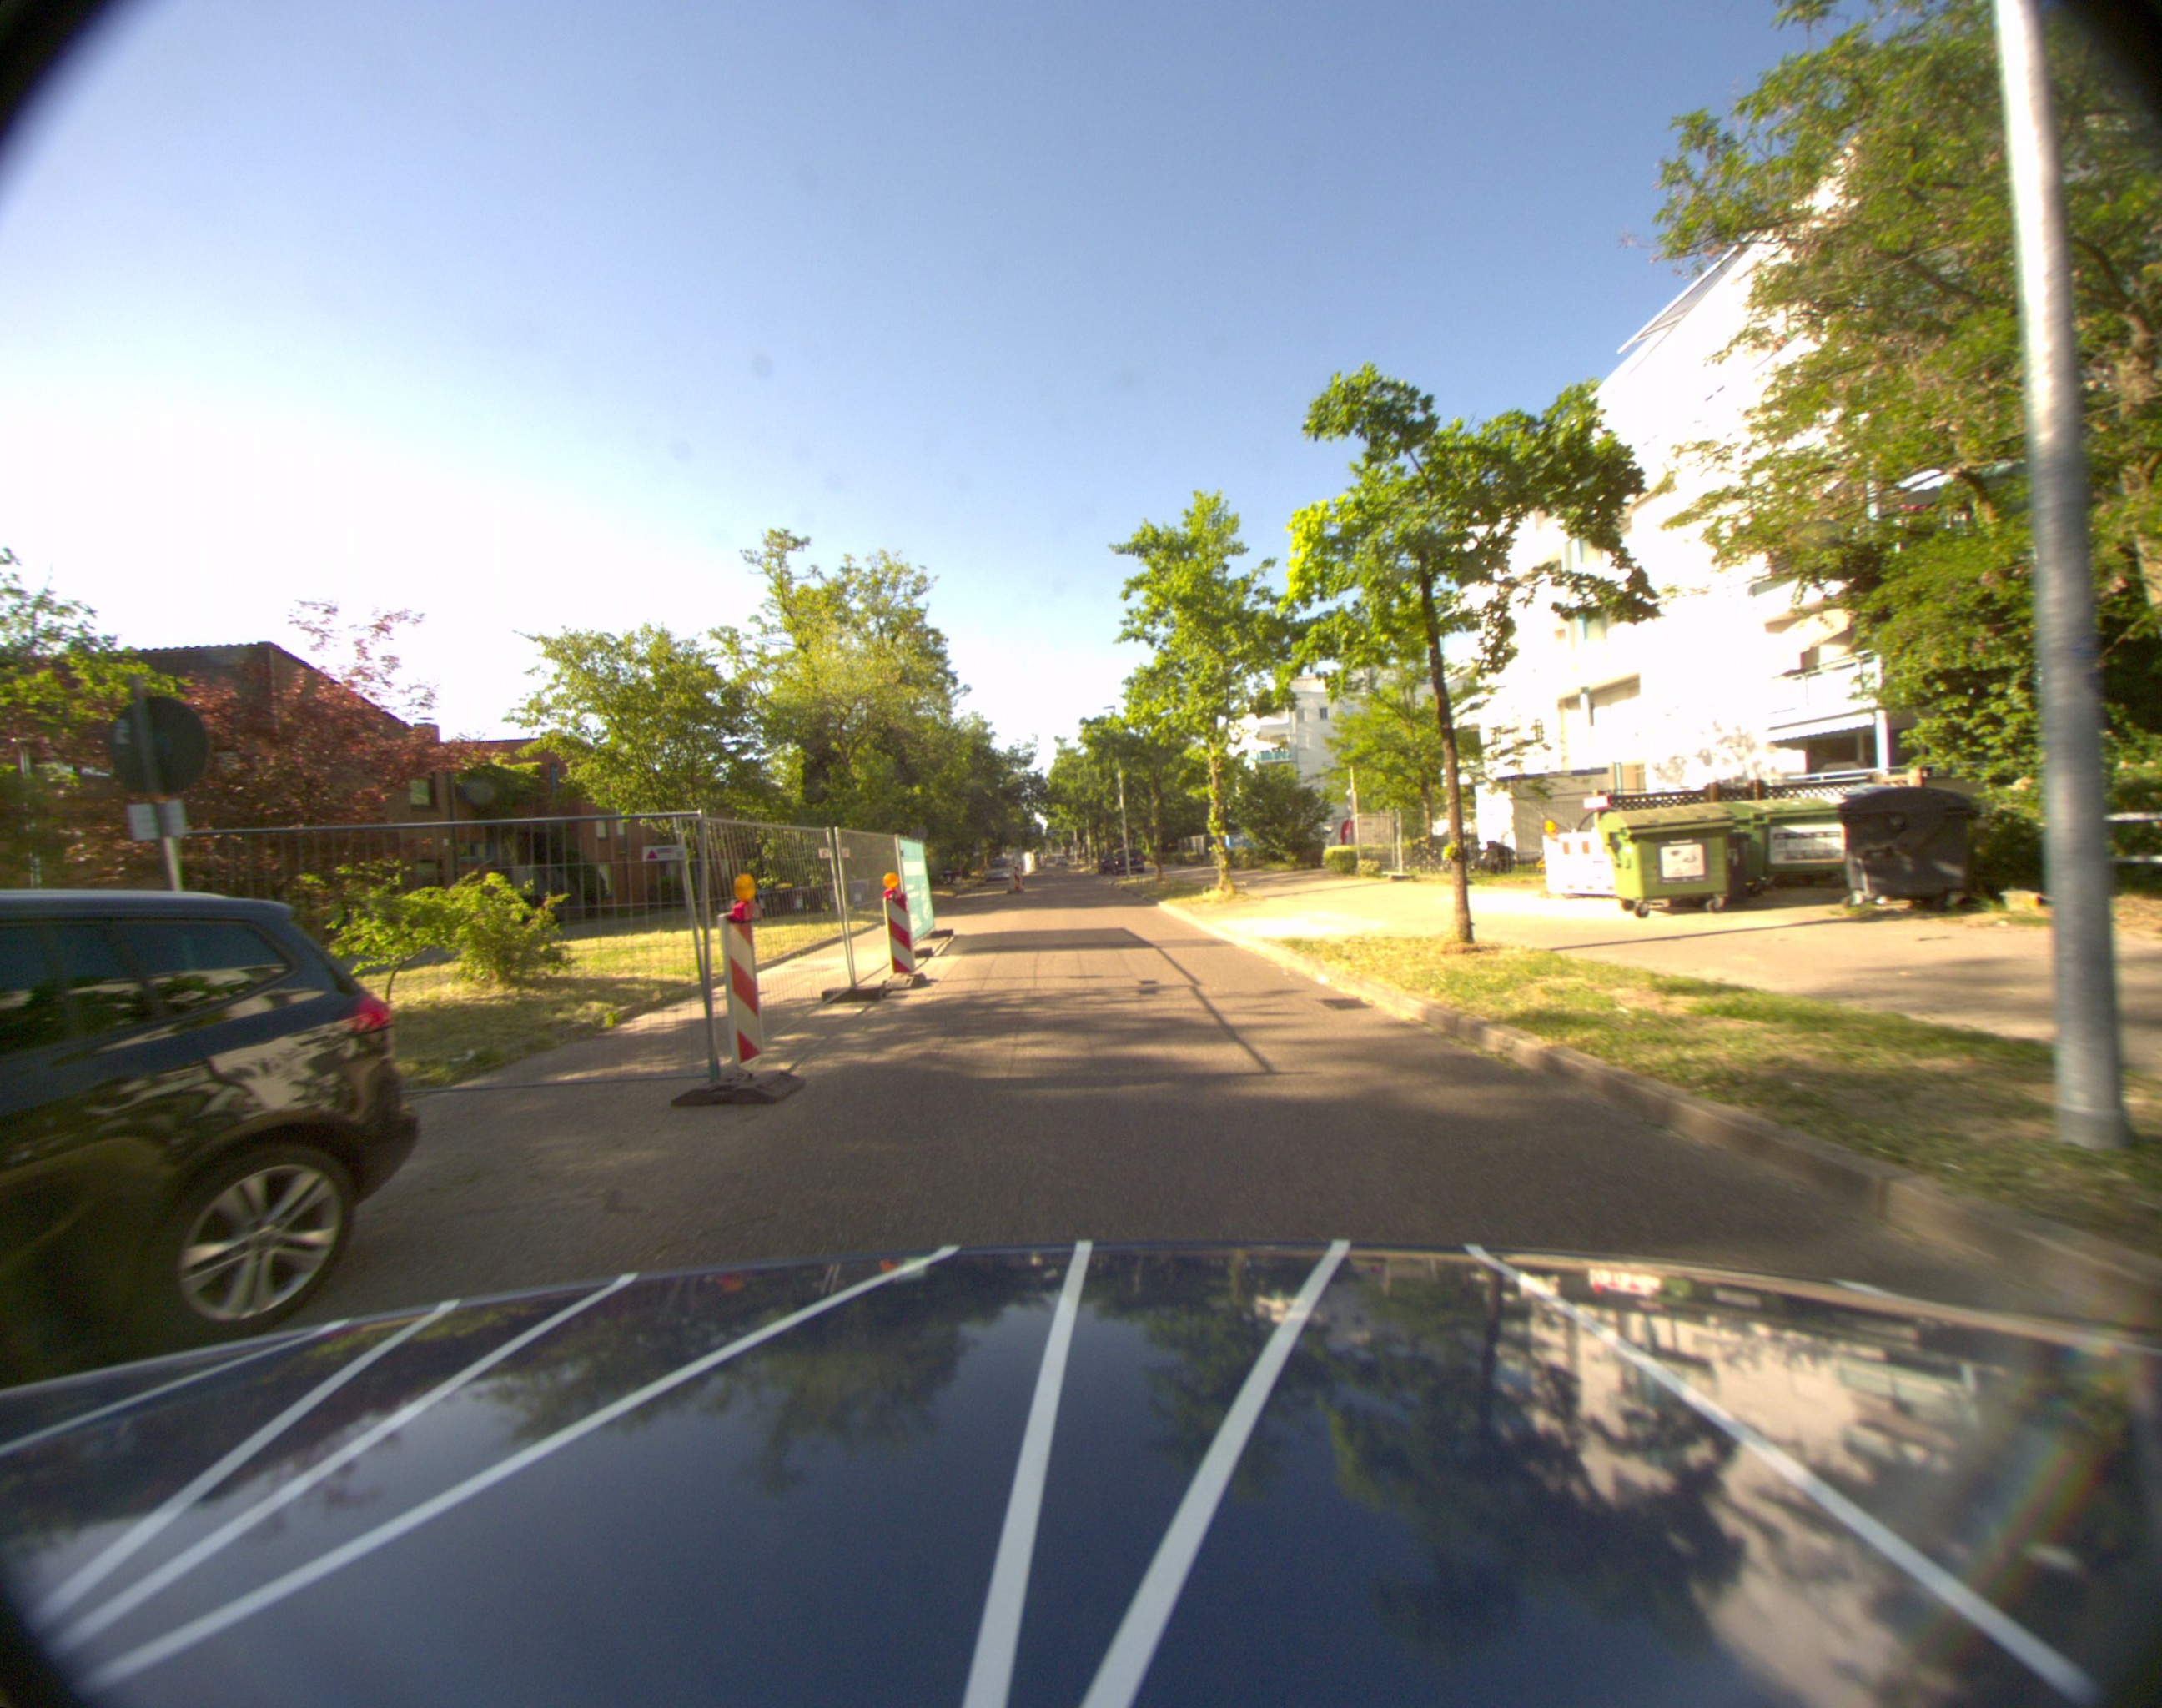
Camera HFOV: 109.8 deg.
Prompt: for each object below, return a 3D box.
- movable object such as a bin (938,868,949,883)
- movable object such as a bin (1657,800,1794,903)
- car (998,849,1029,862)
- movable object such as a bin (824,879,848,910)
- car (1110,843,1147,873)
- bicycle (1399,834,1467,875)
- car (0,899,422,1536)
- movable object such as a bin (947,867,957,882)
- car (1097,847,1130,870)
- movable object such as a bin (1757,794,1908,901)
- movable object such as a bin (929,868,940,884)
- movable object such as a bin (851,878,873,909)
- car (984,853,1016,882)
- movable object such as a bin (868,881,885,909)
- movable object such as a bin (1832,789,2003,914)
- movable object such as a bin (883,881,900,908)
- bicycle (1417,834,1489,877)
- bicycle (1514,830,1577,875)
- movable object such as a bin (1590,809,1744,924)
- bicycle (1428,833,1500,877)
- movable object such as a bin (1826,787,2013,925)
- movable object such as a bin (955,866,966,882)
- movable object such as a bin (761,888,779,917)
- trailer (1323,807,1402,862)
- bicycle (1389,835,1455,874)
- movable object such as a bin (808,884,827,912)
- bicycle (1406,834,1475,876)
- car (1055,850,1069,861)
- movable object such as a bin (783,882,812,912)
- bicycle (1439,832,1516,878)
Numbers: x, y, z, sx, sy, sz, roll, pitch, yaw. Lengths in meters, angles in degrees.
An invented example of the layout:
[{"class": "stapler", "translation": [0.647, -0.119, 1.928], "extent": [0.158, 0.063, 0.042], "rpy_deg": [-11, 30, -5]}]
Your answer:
[{"class": "movable object such as a bin", "translation": [-8.023, 1.241, 44.254], "extent": [0.485, 0.856, 0.559], "rpy_deg": [-4, 1, -4]}, {"class": "movable object such as a bin", "translation": [9.773, -0.033, 11.605], "extent": [1.270, 1.427, 1.328], "rpy_deg": [-3, 1, 27]}, {"class": "car", "translation": [-12.161, 0.216, 137.320], "extent": [5.270, 1.993, 1.999], "rpy_deg": [-3, 1, -3]}, {"class": "movable object such as a bin", "translation": [-8.224, 1.357, 25.537], "extent": [0.564, 0.994, 0.608], "rpy_deg": [-2, 1, -1]}, {"class": "car", "translation": [2.912, 0.225, 47.665], "extent": [1.780, 1.612, 4.219], "rpy_deg": [-6, 1, -1]}, {"class": "bicycle", "translation": [9.913, 0.005, 21.400], "extent": [1.862, 1.021, 0.400], "rpy_deg": [-4, 2, -14]}, {"class": "car", "translation": [-3.951, 1.130, 1.116], "extent": [1.814, 1.641, 4.421], "rpy_deg": [-6, 1, 3]}, {"class": "movable object such as a bin", "translation": [-7.529, 1.193, 44.286], "extent": [0.485, 0.856, 0.559], "rpy_deg": [-4, 1, -4]}, {"class": "car", "translation": [2.260, 0.329, 54.130], "extent": [1.721, 1.424, 4.135], "rpy_deg": [-6, 1, -5]}, {"class": "movable object such as a bin", "translation": [10.956, -0.095, 11.157], "extent": [1.159, 1.427, 1.266], "rpy_deg": [-3, 1, 23]}, {"class": "movable object such as a bin", "translation": [-8.519, 1.262, 44.283], "extent": [0.485, 0.856, 0.559], "rpy_deg": [-4, 1, -4]}, {"class": "movable object such as a bin", "translation": [-7.373, 1.323, 25.596], "extent": [0.520, 0.994, 0.608], "rpy_deg": [-2, 1, -1]}, {"class": "car", "translation": [-5.227, 0.848, 49.409], "extent": [1.683, 1.612, 4.136], "rpy_deg": [-5, 1, -2]}, {"class": "movable object such as a bin", "translation": [-6.849, 1.369, 25.451], "extent": [0.414, 0.865, 0.484], "rpy_deg": [-2, 1, -1]}, {"class": "movable object such as a bin", "translation": [10.522, -0.032, 9.573], "extent": [1.146, 1.427, 1.270], "rpy_deg": [-4, 1, -35]}, {"class": "movable object such as a bin", "translation": [-6.358, 1.348, 25.532], "extent": [0.414, 0.865, 0.484], "rpy_deg": [-2, 1, -1]}, {"class": "bicycle", "translation": [10.019, 0.031, 20.458], "extent": [1.865, 1.021, 0.400], "rpy_deg": [-4, 2, -14]}, {"class": "bicycle", "translation": [11.327, -0.052, 18.588], "extent": [0.400, 1.021, 1.700], "rpy_deg": [-4, 1, -2]}, {"class": "movable object such as a bin", "translation": [7.985, 0.167, 10.448], "extent": [1.271, 1.427, 1.182], "rpy_deg": [-3, 1, 15]}, {"class": "bicycle", "translation": [10.102, 0.015, 20.037], "extent": [1.844, 1.021, 0.400], "rpy_deg": [-4, 2, -14]}, {"class": "movable object such as a bin", "translation": [9.629, 0.015, 8.750], "extent": [1.146, 1.427, 1.270], "rpy_deg": [-4, 1, -35]}, {"class": "movable object such as a bin", "translation": [-7.039, 1.176, 44.325], "extent": [0.485, 0.856, 0.559], "rpy_deg": [-4, 1, -4]}, {"class": "movable object such as a bin", "translation": [-10.306, 1.604, 25.203], "extent": [0.426, 0.877, 0.524], "rpy_deg": [-3, 1, -13]}, {"class": "trailer", "translation": [12.347, -0.836, 33.602], "extent": [1.868, 2.108, 4.346], "rpy_deg": [-6, 1, 2]}, {"class": "bicycle", "translation": [10.028, 0.004, 22.344], "extent": [1.875, 1.021, 0.400], "rpy_deg": [-4, 2, -14]}, {"class": "movable object such as a bin", "translation": [-8.802, 1.471, 25.421], "extent": [0.419, 0.865, 0.525], "rpy_deg": [-2, 1, -1]}, {"class": "bicycle", "translation": [9.897, 0.015, 20.926], "extent": [1.844, 1.021, 0.400], "rpy_deg": [-4, 2, -14]}, {"class": "car", "translation": [-2.850, 0.220, 113.505], "extent": [1.664, 1.587, 4.006], "rpy_deg": [-2, 1, -5]}, {"class": "movable object such as a bin", "translation": [-9.482, 1.444, 25.435], "extent": [0.696, 0.923, 0.695], "rpy_deg": [-2, 1, -1]}, {"class": "bicycle", "translation": [10.213, 0.017, 19.575], "extent": [1.921, 1.021, 0.400], "rpy_deg": [-4, 2, -14]}]
